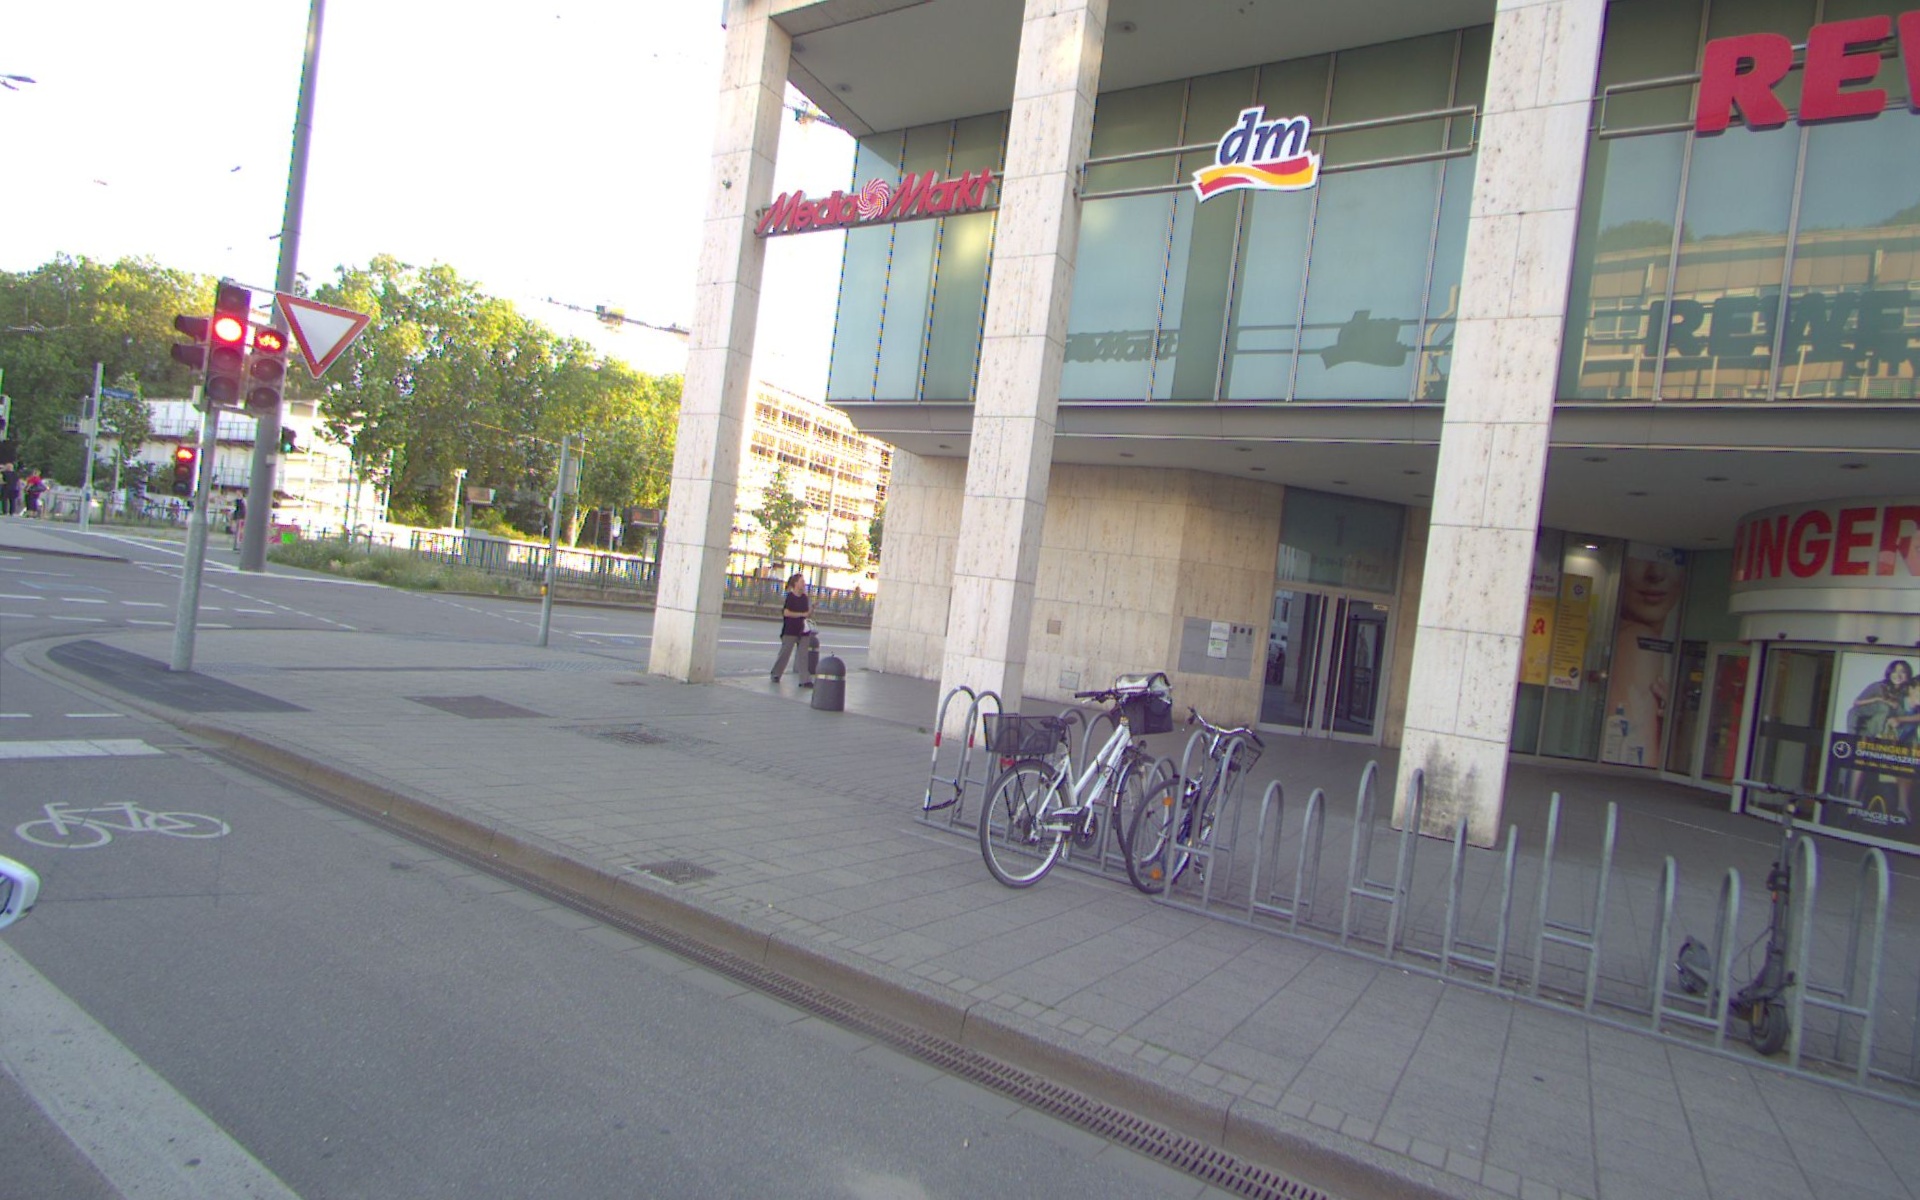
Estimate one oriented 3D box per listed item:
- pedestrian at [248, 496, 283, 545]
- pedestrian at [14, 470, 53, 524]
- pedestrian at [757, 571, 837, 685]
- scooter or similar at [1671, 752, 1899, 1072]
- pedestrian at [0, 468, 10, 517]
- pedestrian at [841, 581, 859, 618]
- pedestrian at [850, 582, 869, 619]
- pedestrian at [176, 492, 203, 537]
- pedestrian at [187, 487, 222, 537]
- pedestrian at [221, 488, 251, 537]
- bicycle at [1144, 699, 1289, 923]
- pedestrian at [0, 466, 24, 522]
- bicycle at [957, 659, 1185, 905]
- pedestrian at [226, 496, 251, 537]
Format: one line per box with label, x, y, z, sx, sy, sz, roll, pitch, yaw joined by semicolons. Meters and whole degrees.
pedestrian;-26.957;-3.093;39.071;0.699;1.746;0.668;7;1;15
pedestrian;-32.680;-3.631;35.491;0.696;1.756;0.843;8;1;44
pedestrian;-2.514;0.444;15.589;0.696;1.659;0.791;8;1;31
scooter or similar;3.989;1.437;4.955;0.484;1.214;1.196;8;1;27
pedestrian;-33.978;-3.816;35.458;0.570;1.699;0.631;7;1;-44
pedestrian;-6.385;-0.017;58.552;0.559;2.039;0.575;8;1;28
pedestrian;-5.820;0.046;58.243;0.631;2.039;0.626;8;1;28
pedestrian;-29.531;-3.266;38.557;0.527;1.612;0.571;8;1;32
pedestrian;-28.425;-3.310;37.834;0.701;1.746;0.667;8;1;28
pedestrian;-27.724;-3.358;38.521;0.708;1.746;0.660;7;1;-41
bicycle;1.676;1.239;6.372;0.474;1.092;1.773;8;0;24
pedestrian;-32.846;-3.674;34.587;0.803;1.814;0.790;7;1;-44
bicycle;0.702;1.005;5.924;0.540;1.198;1.479;8;1;36
pedestrian;-28.105;-3.247;39.179;0.672;1.459;0.707;7;1;-36
